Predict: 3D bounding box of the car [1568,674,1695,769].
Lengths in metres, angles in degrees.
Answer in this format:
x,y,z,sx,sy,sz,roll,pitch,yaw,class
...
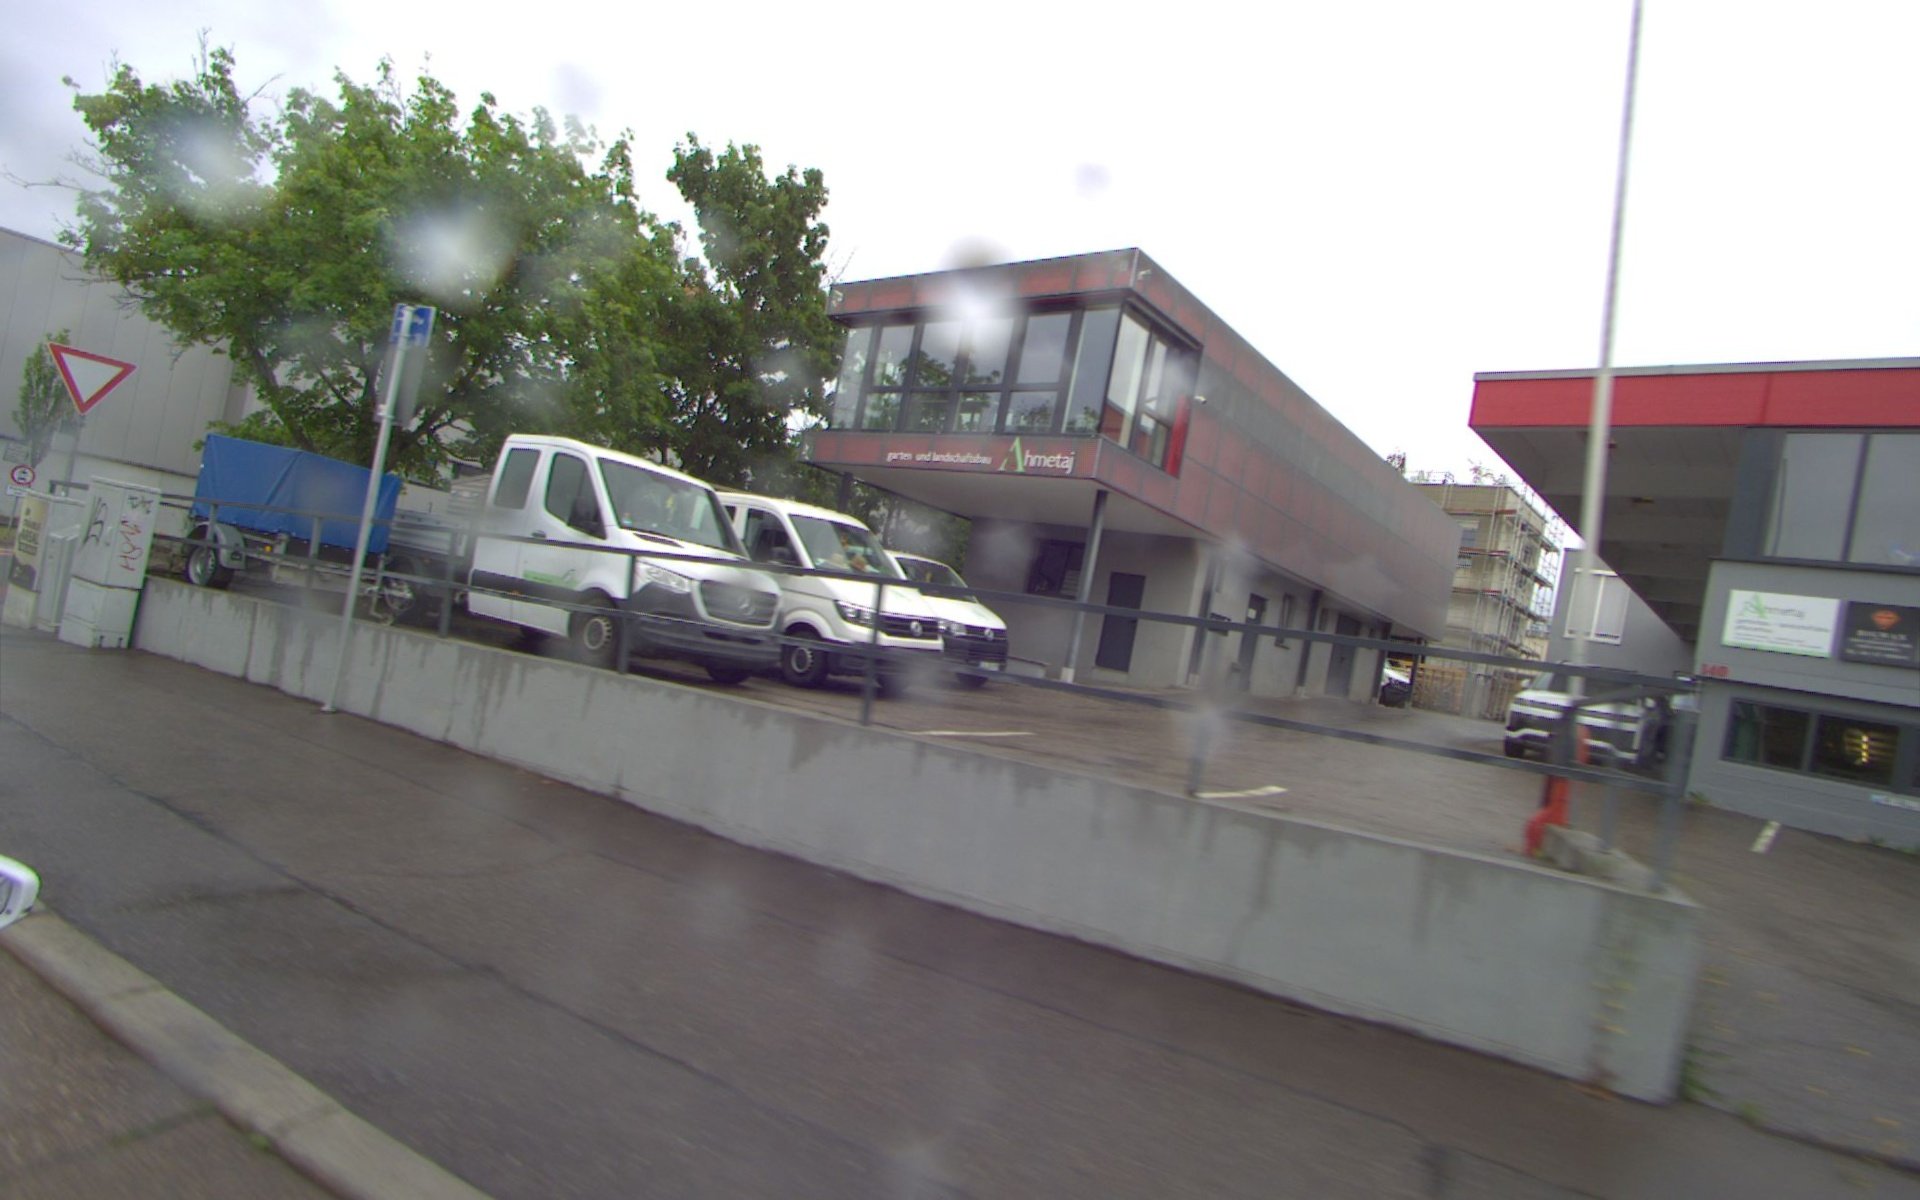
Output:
x,y,z,sx,sy,sz,roll,pitch,yaw,class
14.909,2.685,22.257,1.647,1.676,3.693,9,1,42,car

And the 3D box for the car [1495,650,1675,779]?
x,y,z,sx,sy,sz,roll,pitch,yaw,class
11.076,1.997,17.712,1.833,1.760,3.918,9,1,42,car

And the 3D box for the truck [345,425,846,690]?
x,y,z,sx,sy,sz,roll,pitch,yaw,class
-4.236,-0.559,11.276,5.560,2.239,2.110,7,-2,33,truck

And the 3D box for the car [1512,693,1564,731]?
x,y,z,sx,sy,sz,roll,pitch,yaw,class
28.361,5.511,49.330,1.618,1.489,3.051,7,-3,40,car

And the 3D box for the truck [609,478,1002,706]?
x,y,z,sx,sy,sz,roll,pitch,yaw,class
-2.168,-0.162,13.506,4.762,2.368,2.246,7,-3,36,truck

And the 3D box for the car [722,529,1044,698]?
x,y,z,sx,sy,sz,roll,pitch,yaw,class
-1.351,0.163,16.326,4.863,2.036,2.058,7,-3,37,car
